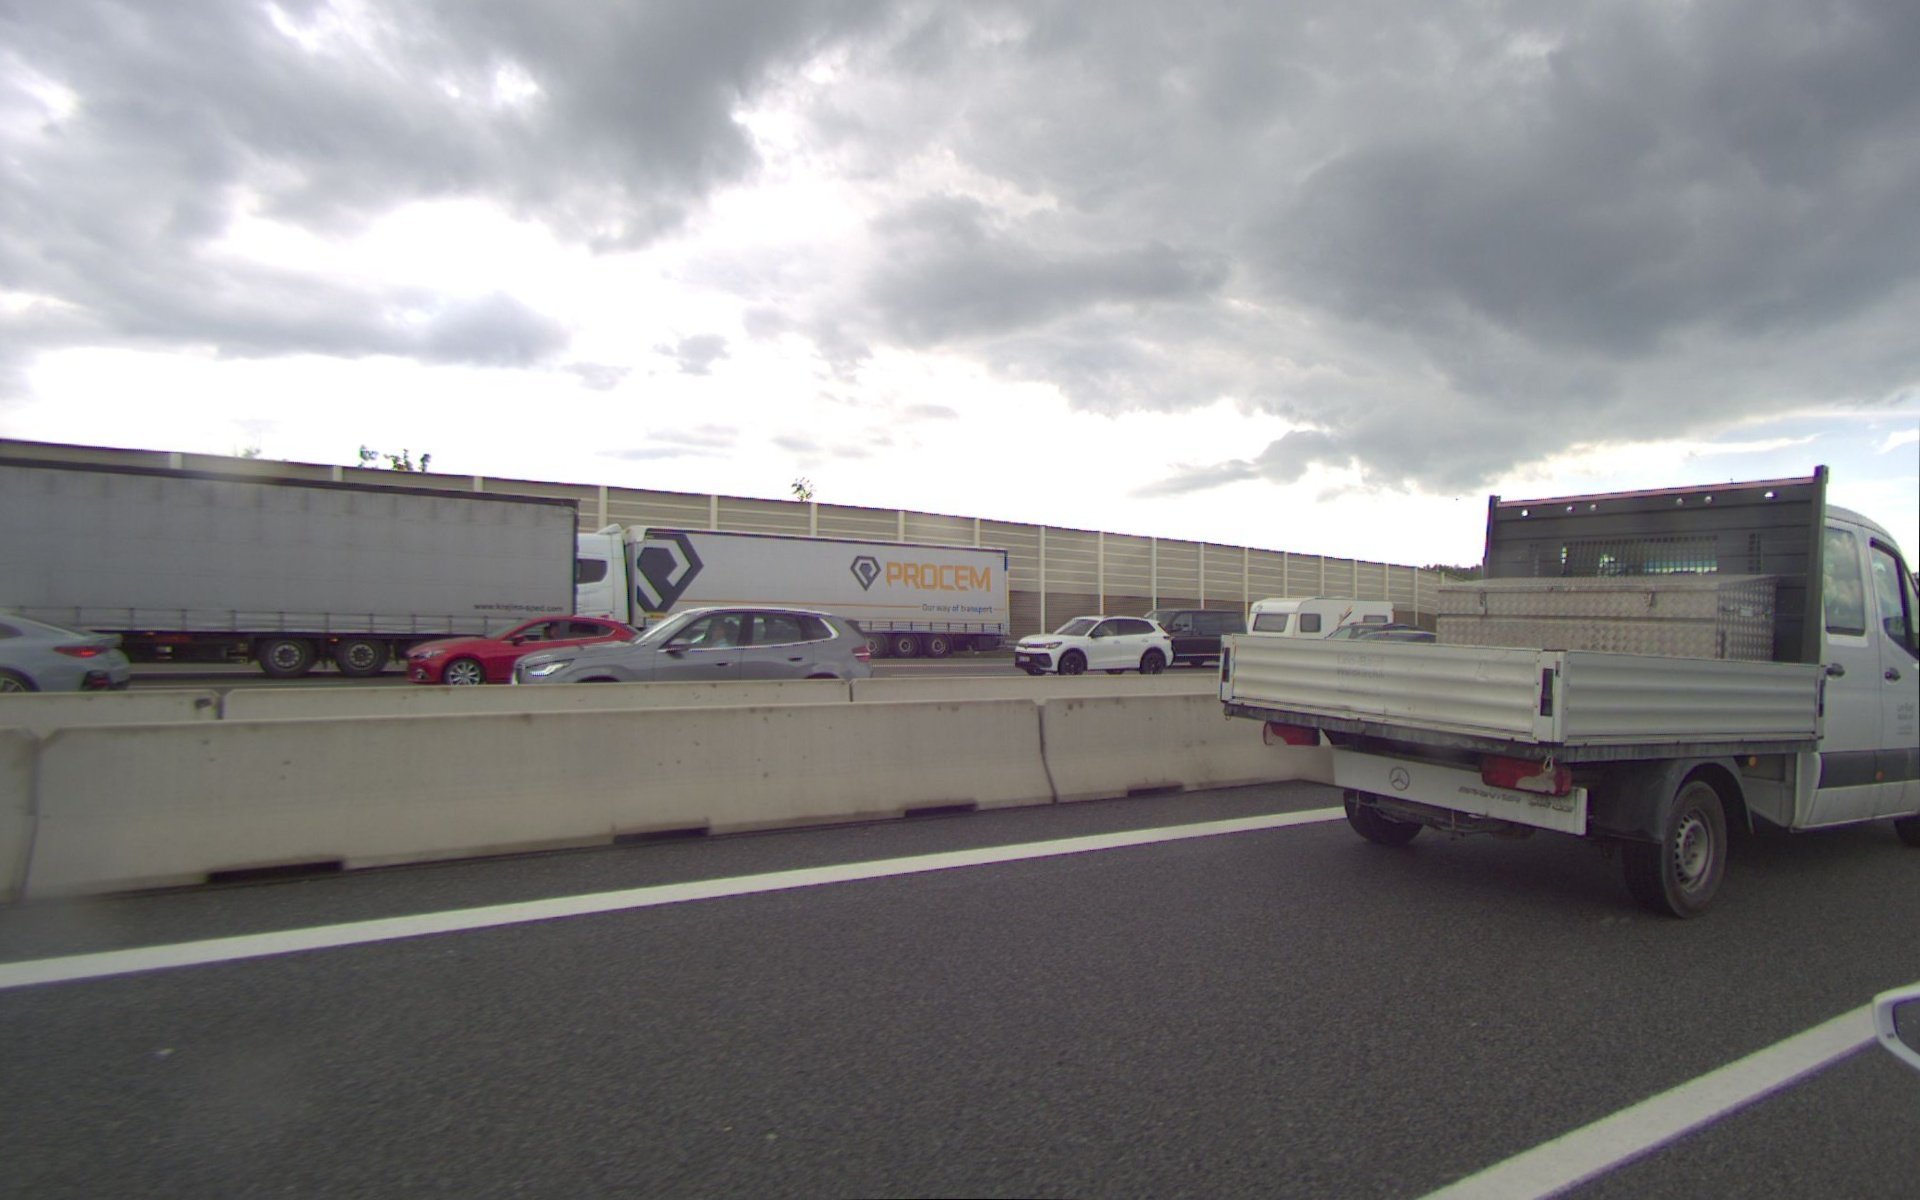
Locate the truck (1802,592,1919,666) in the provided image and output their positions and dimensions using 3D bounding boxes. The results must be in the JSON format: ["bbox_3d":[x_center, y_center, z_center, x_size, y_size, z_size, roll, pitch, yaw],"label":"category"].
[{"bbox_3d":[48.116,1.531,52.620,9.873,3.574,2.684,2,0,-29],"label":"truck"}]

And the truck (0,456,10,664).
[{"bbox_3d":[-20.836,-0.849,17.458,5.658,4.088,2.732,2,-1,-30],"label":"truck"}]

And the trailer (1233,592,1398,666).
[{"bbox_3d":[13.169,1.066,37.104,6.013,2.528,2.448,1,-1,-30],"label":"trailer"}]

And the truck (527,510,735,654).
[{"bbox_3d":[-10.233,-0.451,31.301,5.658,4.088,2.903,2,-1,-30],"label":"truck"}]

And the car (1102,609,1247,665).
[{"bbox_3d":[7.137,1.216,33.370,4.604,1.722,1.946,1,-1,-30],"label":"car"}]

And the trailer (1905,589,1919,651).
[{"bbox_3d":[69.727,1.552,69.221,14.282,4.085,2.748,2,-1,-30],"label":"trailer"}]

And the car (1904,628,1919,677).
[{"bbox_3d":[36.542,1.938,36.741,4.173,1.722,1.864,1,-1,-31],"label":"car"}]

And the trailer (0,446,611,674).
[{"bbox_3d":[-14.961,-0.623,20.814,14.281,4.085,2.748,2,-1,-30],"label":"trailer"}]

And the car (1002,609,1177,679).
[{"bbox_3d":[3.477,1.135,26.716,4.361,1.722,1.945,1,-1,-32],"label":"car"}]

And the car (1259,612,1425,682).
[{"bbox_3d":[10.325,1.233,27.110,4.361,1.722,1.945,1,-1,-32],"label":"car"}]

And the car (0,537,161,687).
[{"bbox_3d":[-13.373,0.121,12.530,5.056,1.840,2.050,1,-1,-32],"label":"car"}]

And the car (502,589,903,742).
[{"bbox_3d":[-3.357,0.786,13.430,4.838,1.722,1.945,1,-1,-32],"label":"car"}]

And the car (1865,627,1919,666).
[{"bbox_3d":[44.382,2.144,46.863,4.957,1.722,1.864,1,-1,-31],"label":"car"}]

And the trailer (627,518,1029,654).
[{"bbox_3d":[-4.146,-0.237,34.833,13.695,4.085,2.922,2,-1,-30],"label":"trailer"}]

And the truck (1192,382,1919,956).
[{"bbox_3d":[5.071,0.378,7.178,7.068,2.472,2.295,2,0,-32],"label":"truck"}]

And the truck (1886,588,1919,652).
[{"bbox_3d":[63.204,1.365,65.371,5.658,4.088,2.732,2,-1,-30],"label":"truck"}]

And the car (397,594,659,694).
[{"bbox_3d":[-8.221,0.805,19.203,4.361,1.722,1.945,1,-1,-32],"label":"car"}]
